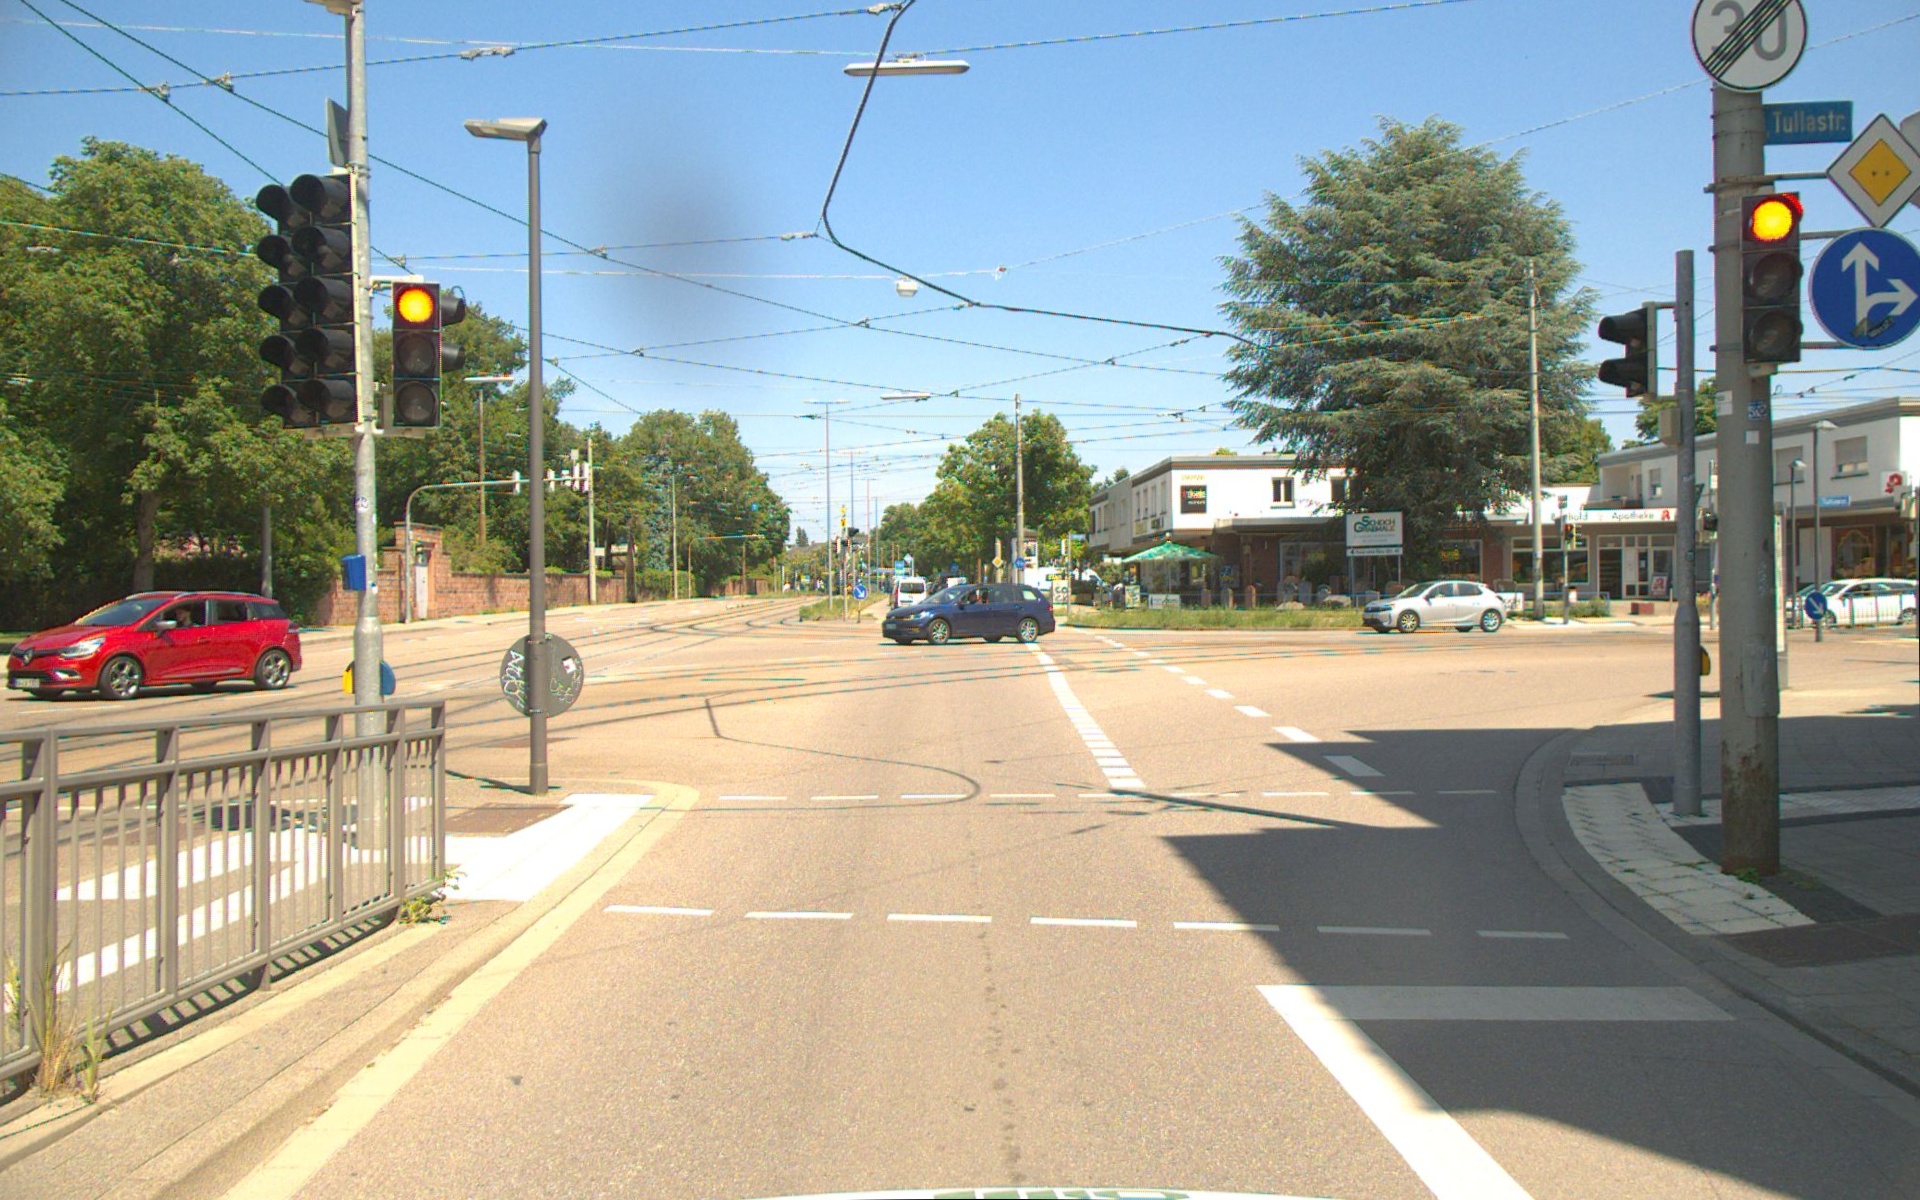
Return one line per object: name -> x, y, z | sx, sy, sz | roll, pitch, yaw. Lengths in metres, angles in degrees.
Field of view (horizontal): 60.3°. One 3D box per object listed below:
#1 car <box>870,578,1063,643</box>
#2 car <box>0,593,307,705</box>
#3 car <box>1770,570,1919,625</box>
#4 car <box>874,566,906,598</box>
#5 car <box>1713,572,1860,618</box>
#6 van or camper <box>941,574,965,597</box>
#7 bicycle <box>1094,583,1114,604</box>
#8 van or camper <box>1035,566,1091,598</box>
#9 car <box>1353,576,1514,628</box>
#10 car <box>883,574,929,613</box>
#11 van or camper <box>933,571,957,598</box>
car -> 0.169, 0.227, 40.291 | 4.419, 1.467, 1.843 | -1, 1, -32
car -> -11.729, 0.634, 23.898 | 1.782, 1.420, 4.172 | 0, 1, 25
car -> 26.051, -0.095, 47.819 | 4.395, 1.516, 1.822 | -1, 0, -4
car -> -4.676, -1.199, 111.039 | 1.953, 2.049, 3.999 | 1, 0, -1
car -> 25.509, -0.159, 51.119 | 3.753, 1.375, 1.641 | -1, 0, -4
van or camper -> -0.571, -1.151, 130.376 | 1.883, 1.803, 3.999 | -1, 1, -1
bicycle -> 7.390, -0.335, 84.618 | 1.012, 1.032, 2.639 | 0, 1, 5
van or camper -> 8.935, -1.573, 143.546 | 4.662, 2.717, 2.134 | -1, 0, -3
car -> 13.278, 0.046, 46.426 | 3.966, 1.386, 1.819 | -1, 0, -12
car -> -2.757, -0.326, 83.471 | 1.956, 1.892, 3.994 | -1, 1, -7
van or camper -> -1.389, -1.438, 152.833 | 1.954, 2.507, 3.997 | -1, 0, -4
